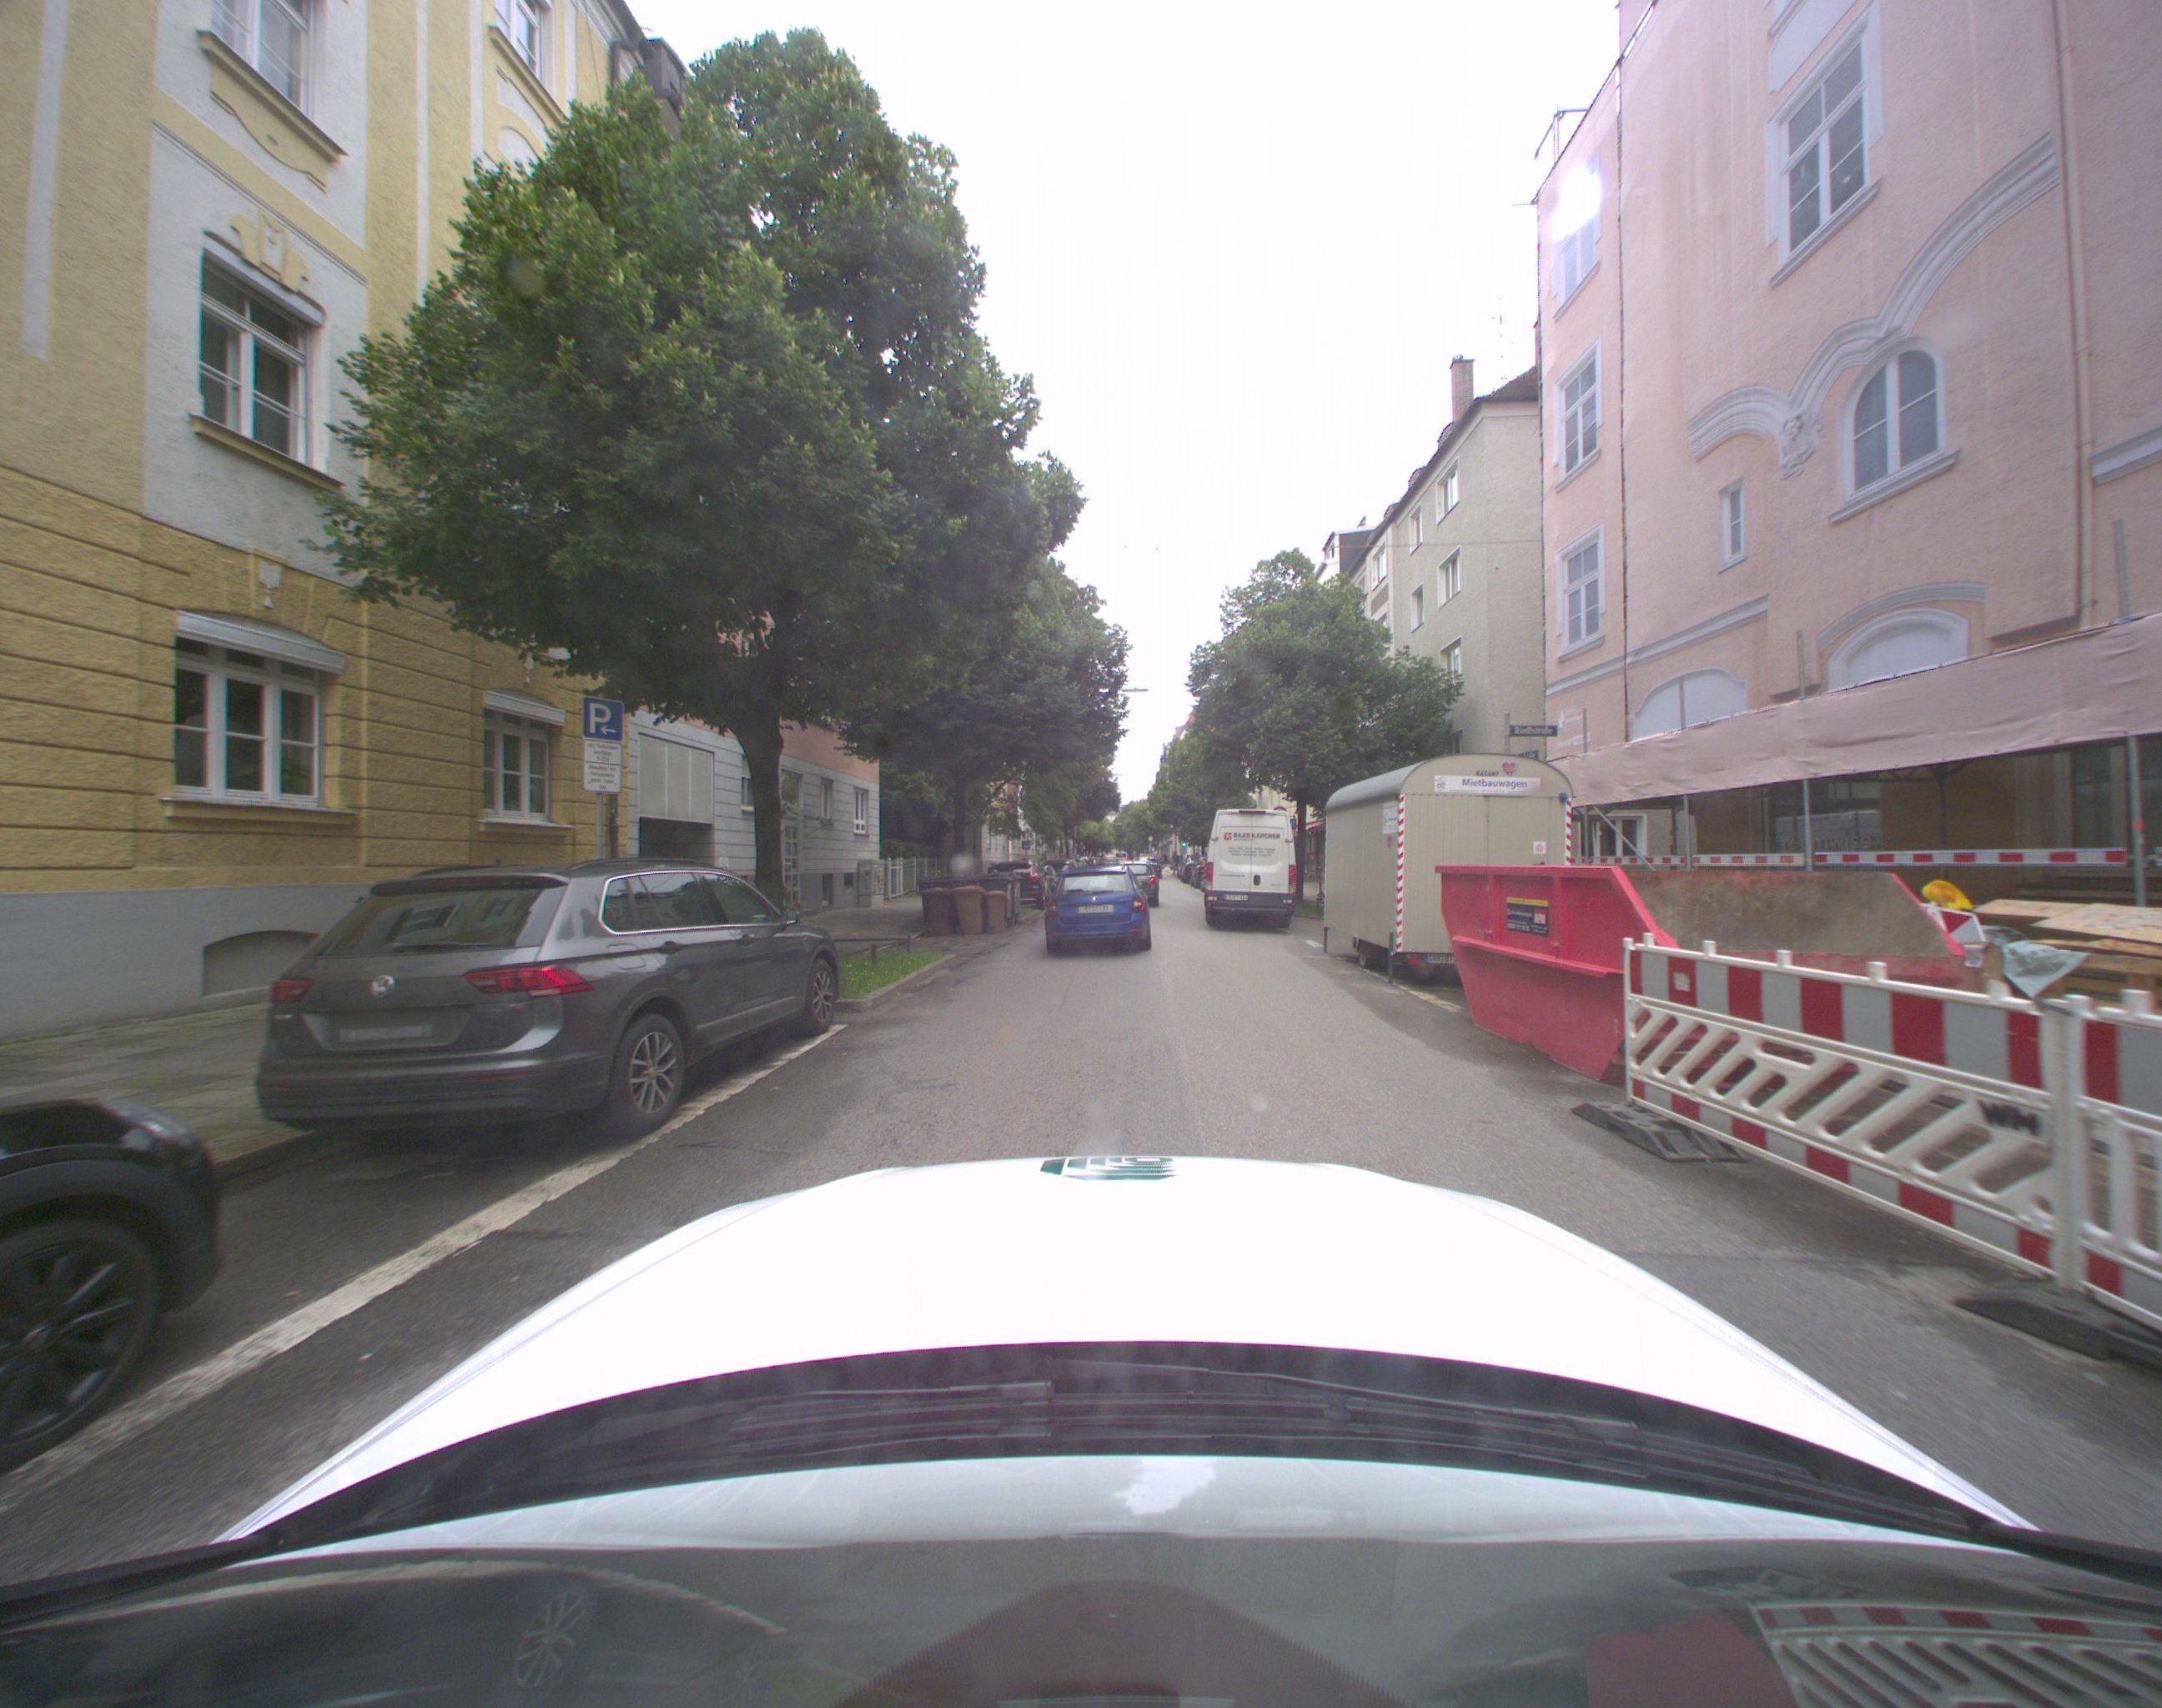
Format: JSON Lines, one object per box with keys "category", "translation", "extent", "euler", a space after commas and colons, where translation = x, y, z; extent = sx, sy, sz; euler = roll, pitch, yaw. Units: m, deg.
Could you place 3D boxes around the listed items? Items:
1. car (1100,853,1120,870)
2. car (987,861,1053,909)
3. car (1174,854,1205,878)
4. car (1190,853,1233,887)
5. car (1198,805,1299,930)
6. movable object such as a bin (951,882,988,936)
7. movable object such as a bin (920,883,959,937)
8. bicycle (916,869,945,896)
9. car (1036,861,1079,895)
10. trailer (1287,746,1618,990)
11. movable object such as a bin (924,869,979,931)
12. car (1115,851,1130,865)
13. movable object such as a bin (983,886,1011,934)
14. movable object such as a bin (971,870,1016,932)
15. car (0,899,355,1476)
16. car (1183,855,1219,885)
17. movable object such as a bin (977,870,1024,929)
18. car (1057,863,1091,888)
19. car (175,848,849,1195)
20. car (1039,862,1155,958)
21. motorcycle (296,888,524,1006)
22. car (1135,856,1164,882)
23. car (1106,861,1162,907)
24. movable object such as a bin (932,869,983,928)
{"category": "car", "translation": [3.006, 0.743, 83.179], "extent": [1.859, 1.696, 4.351], "euler": [1, 0, 4]}
{"category": "car", "translation": [-1.951, 0.970, 27.079], "extent": [1.806, 1.478, 4.001], "euler": [0, 0, 1]}
{"category": "car", "translation": [7.582, 0.831, 57.248], "extent": [1.771, 1.584, 4.003], "euler": [-1, 0, 3]}
{"category": "car", "translation": [6.989, 0.825, 43.933], "extent": [1.818, 1.727, 4.003], "euler": [-1, 0, 3]}
{"category": "car", "translation": [4.024, 0.330, 20.212], "extent": [2.100, 2.664, 5.513], "euler": [1, -1, 9]}
{"category": "movable object such as a bin", "translation": [-2.509, 1.229, 18.349], "extent": [0.709, 1.148, 0.636], "euler": [-2, -1, -1]}
{"category": "movable object such as a bin", "translation": [-3.176, 1.255, 18.320], "extent": [0.718, 1.138, 0.658], "euler": [-2, -1, -1]}
{"category": "bicycle", "translation": [-6.559, 1.224, 35.639], "extent": [0.632, 1.067, 2.390], "euler": [-1, 0, 4]}
{"category": "car", "translation": [-1.035, 1.050, 37.790], "extent": [1.806, 1.478, 4.001], "euler": [0, 0, 1]}
{"category": "trailer", "translation": [5.256, 0.217, 13.056], "extent": [2.492, 2.840, 6.906], "euler": [1, -1, 3]}
{"category": "movable object such as a bin", "translation": [-3.046, 1.059, 19.207], "extent": [1.078, 1.376, 1.083], "euler": [-2, -1, -1]}
{"category": "car", "translation": [5.466, 0.506, 108.214], "extent": [1.860, 1.870, 4.349], "euler": [1, 0, 2]}
{"category": "movable object such as a bin", "translation": [-1.890, 1.246, 18.385], "extent": [0.545, 1.020, 0.636], "euler": [-2, -1, 0]}
{"category": "movable object such as a bin", "translation": [-2.050, 1.086, 19.249], "extent": [0.915, 1.376, 1.079], "euler": [-2, -1, -1]}
{"category": "car", "translation": [-3.649, 0.855, 1.169], "extent": [1.691, 1.409, 3.713], "euler": [-1, -1, 5]}
{"category": "car", "translation": [7.341, 0.941, 50.144], "extent": [1.818, 1.727, 4.003], "euler": [-1, 0, 3]}
{"category": "movable object such as a bin", "translation": [-2.000, 1.112, 20.347], "extent": [1.017, 1.376, 1.103], "euler": [-2, -1, -1]}
{"category": "car", "translation": [-0.394, 1.273, 49.822], "extent": [1.804, 1.478, 4.003], "euler": [0, 0, 3]}
{"category": "car", "translation": [-3.332, 0.823, 5.972], "extent": [1.777, 1.628, 4.189], "euler": [-1, -1, 4]}
{"category": "car", "translation": [0.357, 0.892, 14.725], "extent": [1.782, 1.460, 4.317], "euler": [-1, -1, 3]}
{"category": "motorcycle", "translation": [-7.802, 1.019, 9.678], "extent": [0.636, 1.127, 2.429], "euler": [-1, 0, 2]}
{"category": "car", "translation": [4.814, 1.018, 57.461], "extent": [1.860, 1.696, 4.350], "euler": [1, 0, 3]}
{"category": "car", "translation": [1.829, 0.975, 27.457], "extent": [1.733, 1.422, 3.669], "euler": [-1, -1, 5]}
{"category": "movable object such as a bin", "translation": [-3.056, 1.095, 20.308], "extent": [1.054, 1.376, 1.095], "euler": [-2, -1, -1]}
